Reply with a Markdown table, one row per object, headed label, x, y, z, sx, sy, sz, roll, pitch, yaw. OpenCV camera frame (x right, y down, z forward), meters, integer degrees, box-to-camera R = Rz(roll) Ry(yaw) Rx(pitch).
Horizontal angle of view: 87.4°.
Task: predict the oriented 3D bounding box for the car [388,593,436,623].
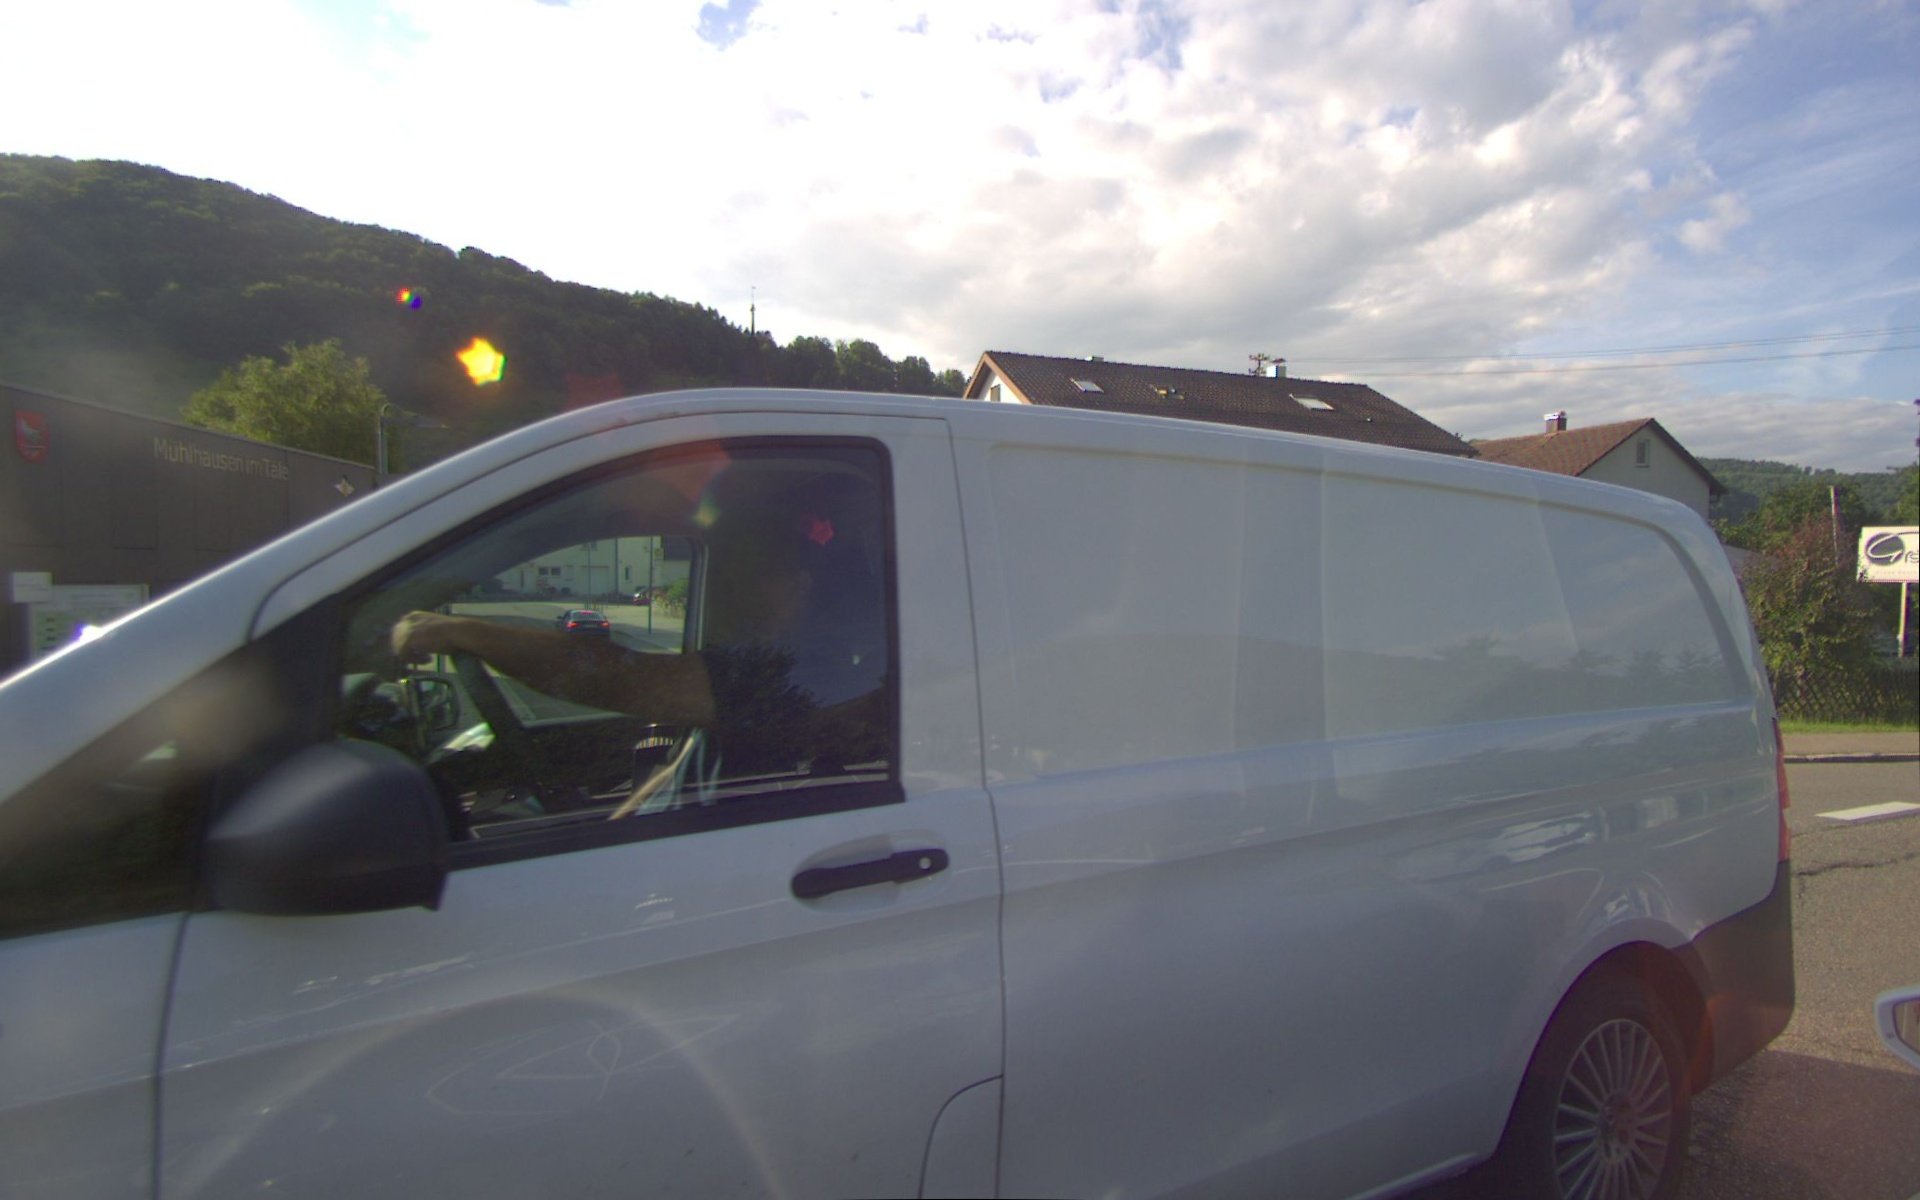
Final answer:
| label | x | y | z | sx | sy | sz | roll | pitch | yaw |
| --- | --- | --- | --- | --- | --- | --- | --- | --- | --- |
| car | -29.490 | 0.412 | 54.012 | 1.978 | 1.534 | 3.964 | 0 | 0 | -33 |

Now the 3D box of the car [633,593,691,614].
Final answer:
| label | x | y | z | sx | sy | sz | roll | pitch | yaw |
| --- | --- | --- | --- | --- | --- | --- | --- | --- | --- |
| car | -22.940 | 0.260 | 77.307 | 3.951 | 1.528 | 1.985 | 1 | 0 | -29 |

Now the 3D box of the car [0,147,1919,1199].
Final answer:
| label | x | y | z | sx | sy | sz | roll | pitch | yaw |
| --- | --- | --- | --- | --- | --- | --- | --- | --- | --- |
| car | 0.397 | 0.609 | 2.651 | 5.187 | 1.929 | 1.986 | 1 | -1 | -28 |

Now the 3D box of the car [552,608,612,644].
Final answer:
| label | x | y | z | sx | sy | sz | roll | pitch | yaw |
| --- | --- | --- | --- | --- | --- | --- | --- | --- | --- |
| car | -15.869 | 1.075 | 42.065 | 1.813 | 1.428 | 4.196 | 1 | -1 | -28 |
